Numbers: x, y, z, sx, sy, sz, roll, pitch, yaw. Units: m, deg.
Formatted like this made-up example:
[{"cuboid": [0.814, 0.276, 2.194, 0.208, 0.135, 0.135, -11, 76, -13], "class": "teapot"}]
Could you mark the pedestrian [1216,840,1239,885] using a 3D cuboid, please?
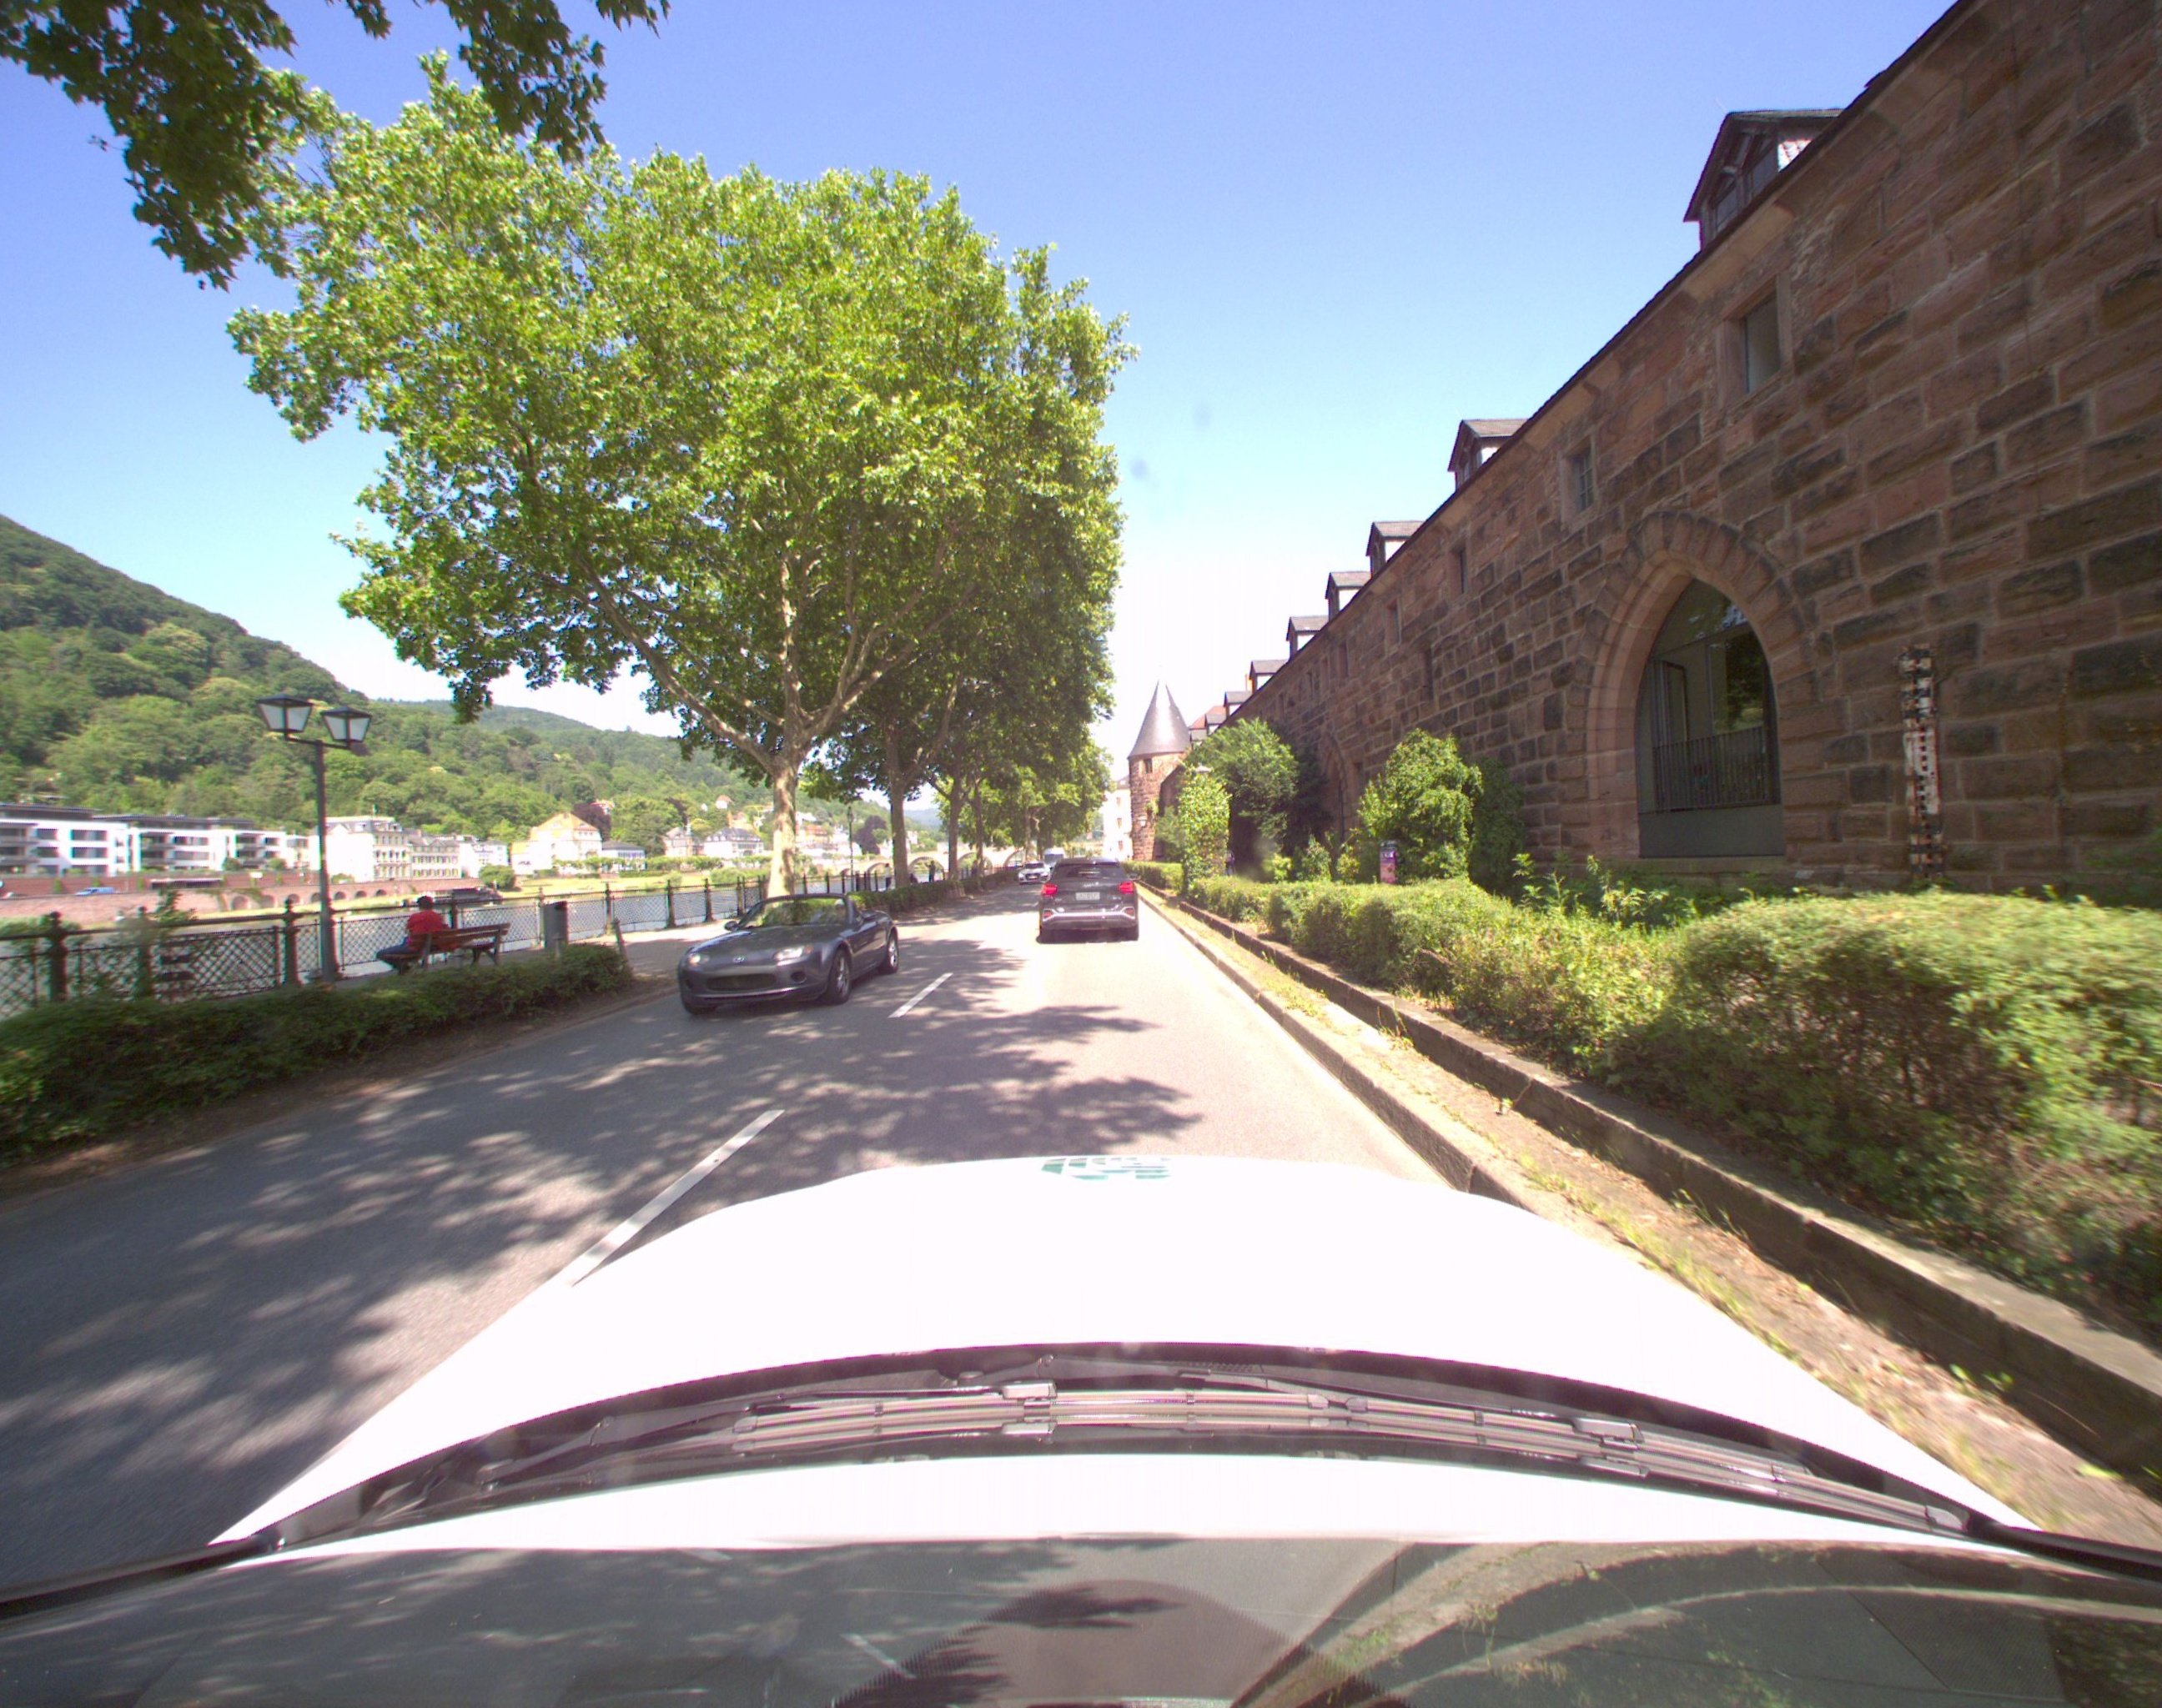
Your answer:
[{"cuboid": [5.588, 0.324, 31.137, 0.695, 1.652, 0.705, -4, 0, 3], "class": "pedestrian"}]

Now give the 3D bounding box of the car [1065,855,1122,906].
[{"cuboid": [0.484, 0.880, 28.663, 1.794, 1.562, 3.718, -4, 0, 2], "class": "car"}]

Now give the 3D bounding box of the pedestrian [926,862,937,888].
[{"cuboid": [-9.636, 1.345, 52.431, 0.642, 1.618, 0.458, 0, -1, -1], "class": "pedestrian"}]

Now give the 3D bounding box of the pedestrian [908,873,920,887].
[{"cuboid": [-10.829, 1.679, 52.884, 0.605, 0.884, 0.705, -2, 0, 0], "class": "pedestrian"}]

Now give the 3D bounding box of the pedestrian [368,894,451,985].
[{"cuboid": [-10.149, 1.277, 12.335, 0.700, 1.308, 0.657, 0, -1, 1], "class": "pedestrian"}]

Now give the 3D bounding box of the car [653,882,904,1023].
[{"cuboid": [-3.431, 1.055, 9.976, 1.693, 1.211, 3.485, -4, -1, 0], "class": "car"}]

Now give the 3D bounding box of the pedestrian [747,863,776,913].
[{"cuboid": [-11.739, 1.232, 29.948, 0.701, 1.797, 0.705, -2, -1, 2], "class": "pedestrian"}]

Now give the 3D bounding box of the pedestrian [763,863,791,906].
[{"cuboid": [-11.600, 1.166, 31.091, 0.701, 1.603, 0.705, -2, -1, 2], "class": "pedestrian"}]

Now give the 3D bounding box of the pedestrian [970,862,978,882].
[{"cuboid": [-8.318, 1.408, 63.458, 0.456, 1.554, 0.586, -4, -1, 0], "class": "pedestrian"}]

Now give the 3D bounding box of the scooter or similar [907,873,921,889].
[{"cuboid": [-10.829, 1.738, 52.736, 0.629, 0.968, 1.012, -2, -1, 0], "class": "scooter or similar"}]

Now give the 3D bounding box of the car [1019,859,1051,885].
[{"cuboid": [-2.928, 1.141, 53.007, 1.764, 1.457, 4.533, -4, -1, 0], "class": "car"}]

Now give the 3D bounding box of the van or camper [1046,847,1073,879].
[{"cuboid": [-1.851, 0.789, 71.406, 1.954, 2.567, 5.841, -5, -1, 1], "class": "van or camper"}]

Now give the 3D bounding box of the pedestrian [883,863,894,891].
[{"cuboid": [-11.621, 1.384, 49.103, 0.582, 1.711, 0.403, 0, -1, -1], "class": "pedestrian"}]

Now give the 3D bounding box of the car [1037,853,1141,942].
[{"cuboid": [0.138, 0.748, 15.650, 1.742, 1.494, 3.628, -1, 0, 0], "class": "car"}]

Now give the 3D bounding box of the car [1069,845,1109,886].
[{"cuboid": [0.446, 0.600, 44.698, 1.987, 2.013, 4.000, -4, 0, 1], "class": "car"}]
